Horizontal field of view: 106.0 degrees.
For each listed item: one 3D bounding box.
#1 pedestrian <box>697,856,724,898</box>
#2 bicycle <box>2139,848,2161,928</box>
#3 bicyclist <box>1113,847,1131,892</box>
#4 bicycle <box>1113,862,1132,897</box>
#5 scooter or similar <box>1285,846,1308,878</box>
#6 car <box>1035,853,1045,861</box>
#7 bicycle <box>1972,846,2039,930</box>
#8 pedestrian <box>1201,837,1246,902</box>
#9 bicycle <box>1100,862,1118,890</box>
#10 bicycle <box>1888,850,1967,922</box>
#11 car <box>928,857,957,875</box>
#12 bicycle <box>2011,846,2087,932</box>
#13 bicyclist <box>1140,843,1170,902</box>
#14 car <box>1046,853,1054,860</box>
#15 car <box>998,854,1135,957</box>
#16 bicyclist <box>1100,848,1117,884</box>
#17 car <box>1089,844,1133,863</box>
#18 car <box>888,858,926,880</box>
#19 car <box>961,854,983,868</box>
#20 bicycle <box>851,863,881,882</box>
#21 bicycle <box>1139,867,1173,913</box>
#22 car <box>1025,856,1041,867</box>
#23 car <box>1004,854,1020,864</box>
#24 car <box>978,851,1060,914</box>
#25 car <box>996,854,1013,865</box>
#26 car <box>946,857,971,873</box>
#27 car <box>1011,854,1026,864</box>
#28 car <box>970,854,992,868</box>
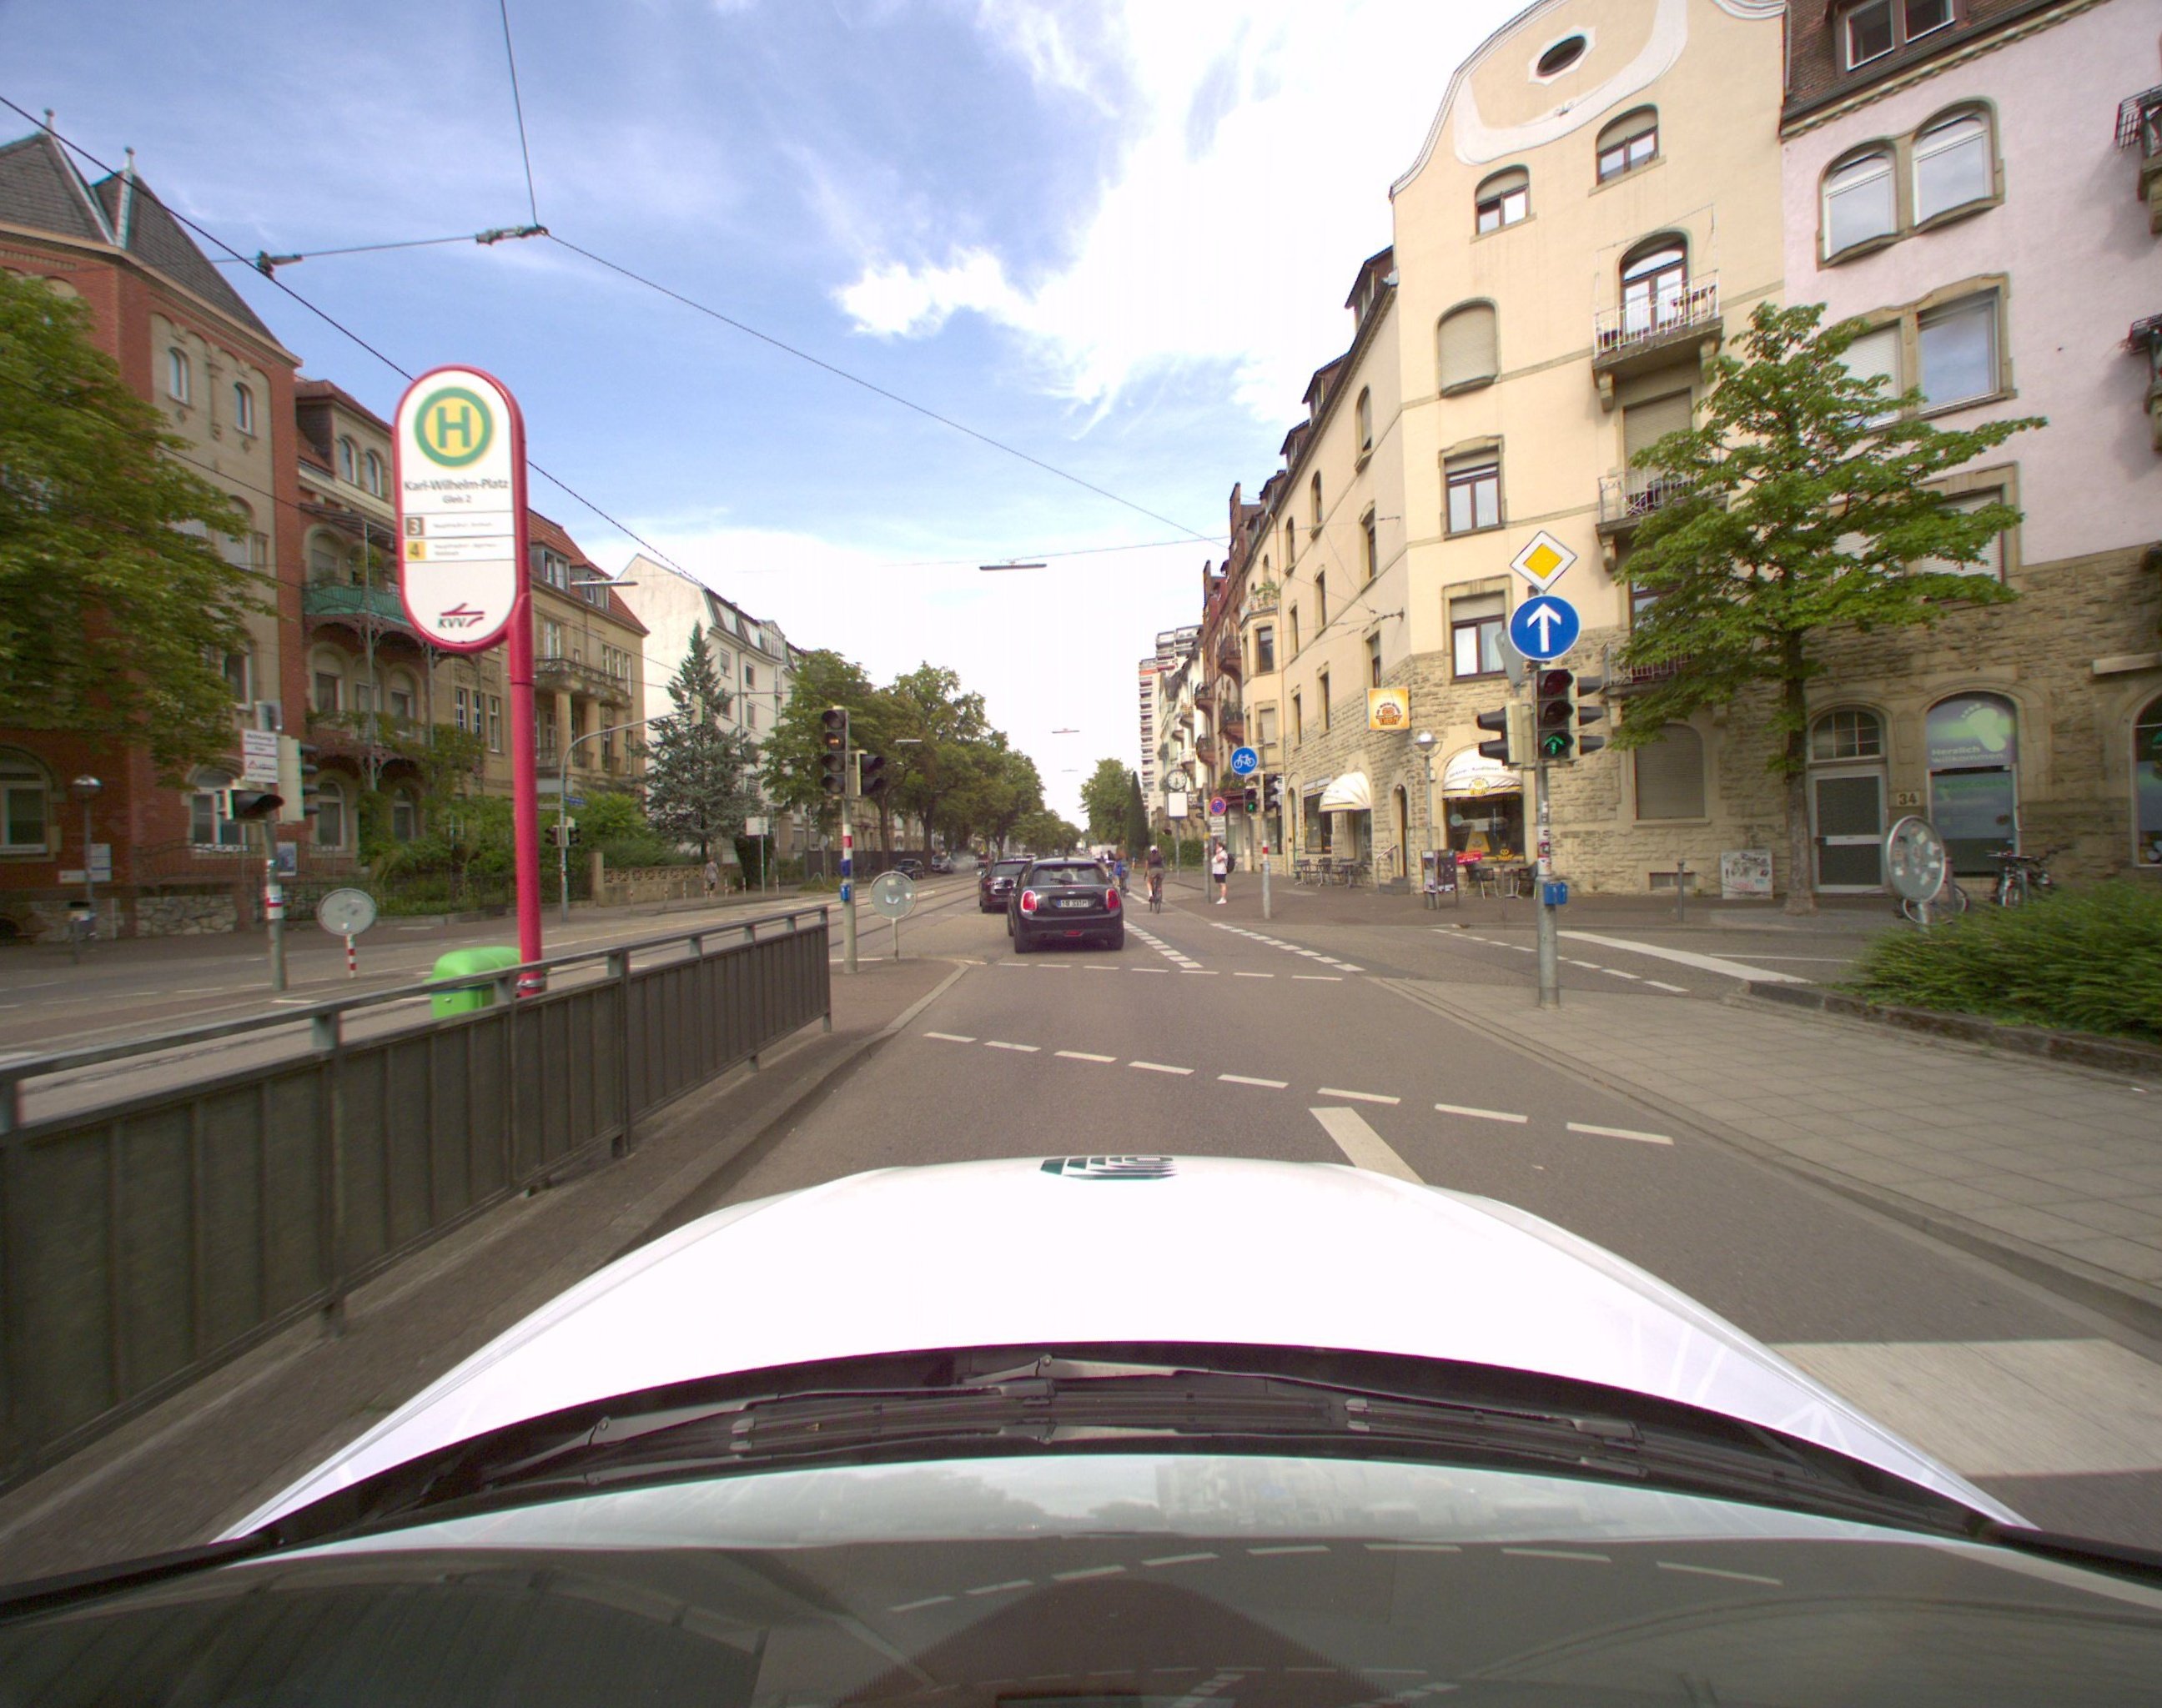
[{"bbox_3d":[-16.152,0.979,35.540,0.727,1.783,0.836,-2,0,2],"label":"pedestrian"},{"bbox_3d":[13.831,0.432,10.143,0.526,0.972,1.659,-2,0,43],"label":"bicycle"},{"bbox_3d":[1.475,0.545,29.333,0.592,1.550,1.014,-2,0,2],"label":"bicyclist"},{"bbox_3d":[1.487,0.903,29.333,0.596,1.170,1.697,-2,0,2],"label":"bicycle"},{"bbox_3d":[8.242,0.302,31.176,0.506,1.188,1.262,-2,0,2],"label":"scooter or similar"},{"bbox_3d":[-9.173,0.677,183.351,1.986,1.552,4.002,-2,0,2],"label":"car"},{"bbox_3d":[12.900,0.441,11.386,0.444,1.055,1.659,-2,0,43],"label":"bicycle"},{"bbox_3d":[3.909,0.431,22.343,0.840,1.674,0.724,-5,0,-42],"label":"pedestrian"},{"bbox_3d":[1.254,0.964,36.421,0.681,1.170,1.698,-2,0,4],"label":"bicycle"},{"bbox_3d":[12.601,0.450,12.159,0.595,0.972,1.683,-2,0,39],"label":"bicycle"},{"bbox_3d":[-12.012,0.994,70.725,1.761,1.395,4.001,-2,0,1],"label":"car"},{"bbox_3d":[13.042,0.436,11.000,0.444,1.055,1.659,-2,0,43],"label":"bicycle"},{"bbox_3d":[1.910,0.473,21.211,0.613,1.472,0.914,-2,0,-2],"label":"bicyclist"},{"bbox_3d":[-8.111,0.679,213.270,1.986,1.552,4.002,-2,0,2],"label":"car"},{"bbox_3d":[-0.409,0.753,13.996,1.752,1.441,3.987,-2,0,-10],"label":"car"},{"bbox_3d":[1.234,0.523,36.389,0.681,1.564,0.999,-2,0,3],"label":"bicyclist"},{"bbox_3d":[3.802,-0.092,102.573,5.065,2.272,2.369,-2,0,-39],"label":"car"},{"bbox_3d":[-12.463,1.052,58.701,1.761,1.395,4.001,-2,0,1],"label":"car"},{"bbox_3d":[-11.865,0.771,89.053,1.761,1.395,4.001,-2,0,1],"label":"car"},{"bbox_3d":[-13.540,1.153,51.246,1.680,1.119,0.566,-3,0,-38],"label":"bicycle"},{"bbox_3d":[1.925,0.918,21.158,0.613,1.076,1.819,-2,0,-2],"label":"bicycle"},{"bbox_3d":[-6.217,0.988,106.711,1.761,1.395,4.001,-2,0,1],"label":"car"},{"bbox_3d":[-10.699,0.780,126.621,1.986,1.552,4.002,-2,0,2],"label":"car"},{"bbox_3d":[-1.797,0.715,22.466,1.926,1.510,3.988,-2,0,-9],"label":"car"},{"bbox_3d":[-11.319,0.790,120.430,1.986,1.552,4.002,-2,0,2],"label":"car"},{"bbox_3d":[-11.760,1.065,78.398,1.761,1.395,4.001,-2,0,1],"label":"car"},{"bbox_3d":[-10.494,0.782,136.657,1.986,1.552,4.002,-2,0,2],"label":"car"},{"bbox_3d":[-11.970,0.782,97.460,1.986,1.552,4.002,-2,0,2],"label":"car"}]
